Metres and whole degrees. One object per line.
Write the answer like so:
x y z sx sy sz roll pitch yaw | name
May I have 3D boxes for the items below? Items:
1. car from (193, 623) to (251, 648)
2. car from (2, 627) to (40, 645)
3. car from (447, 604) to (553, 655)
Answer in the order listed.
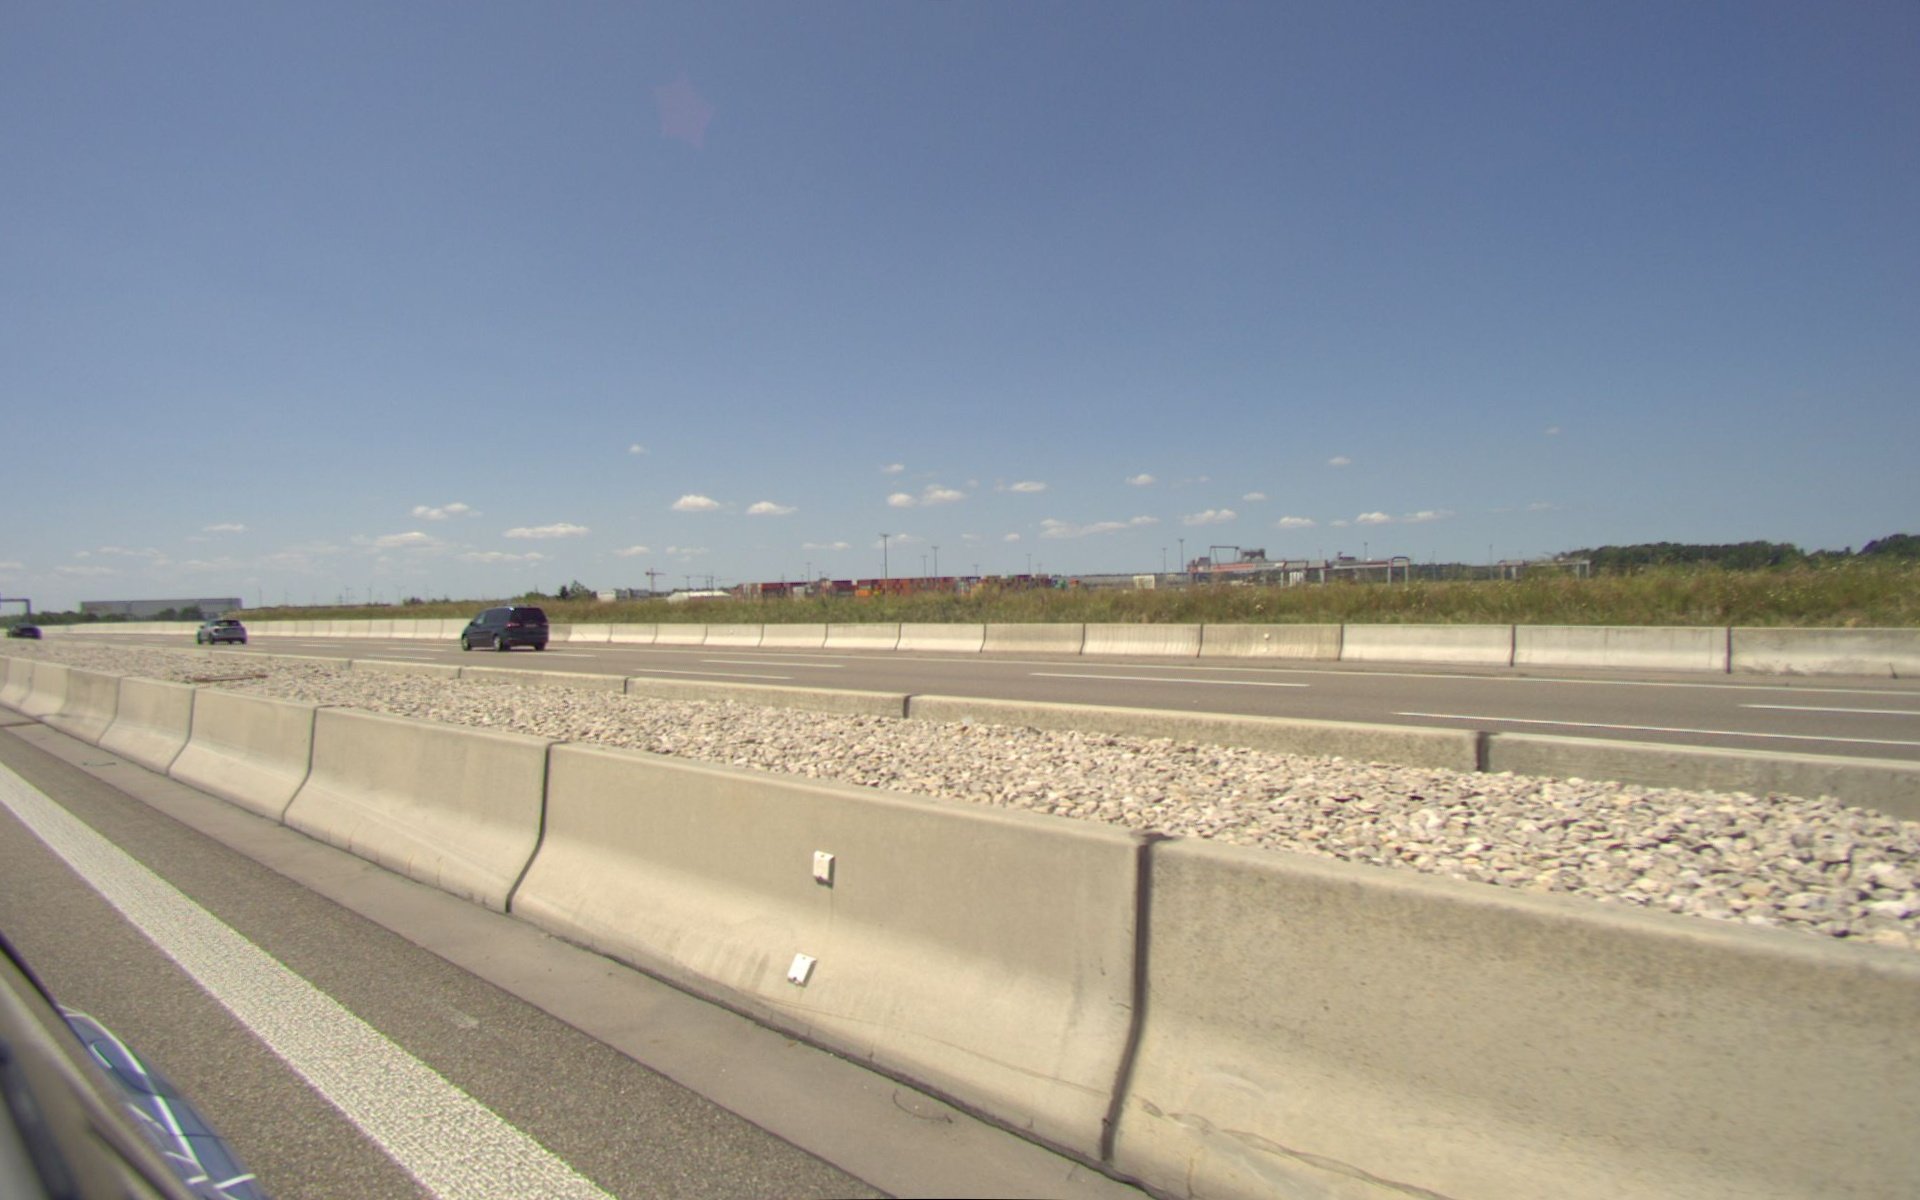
-42.030 1.980 57.643 3.984 1.339 1.871 -1 -1 42 | car
-75.826 2.906 81.686 4.751 1.392 1.824 -1 0 42 | car
-17.974 1.130 39.408 4.917 1.837 1.827 -1 0 40 | car
